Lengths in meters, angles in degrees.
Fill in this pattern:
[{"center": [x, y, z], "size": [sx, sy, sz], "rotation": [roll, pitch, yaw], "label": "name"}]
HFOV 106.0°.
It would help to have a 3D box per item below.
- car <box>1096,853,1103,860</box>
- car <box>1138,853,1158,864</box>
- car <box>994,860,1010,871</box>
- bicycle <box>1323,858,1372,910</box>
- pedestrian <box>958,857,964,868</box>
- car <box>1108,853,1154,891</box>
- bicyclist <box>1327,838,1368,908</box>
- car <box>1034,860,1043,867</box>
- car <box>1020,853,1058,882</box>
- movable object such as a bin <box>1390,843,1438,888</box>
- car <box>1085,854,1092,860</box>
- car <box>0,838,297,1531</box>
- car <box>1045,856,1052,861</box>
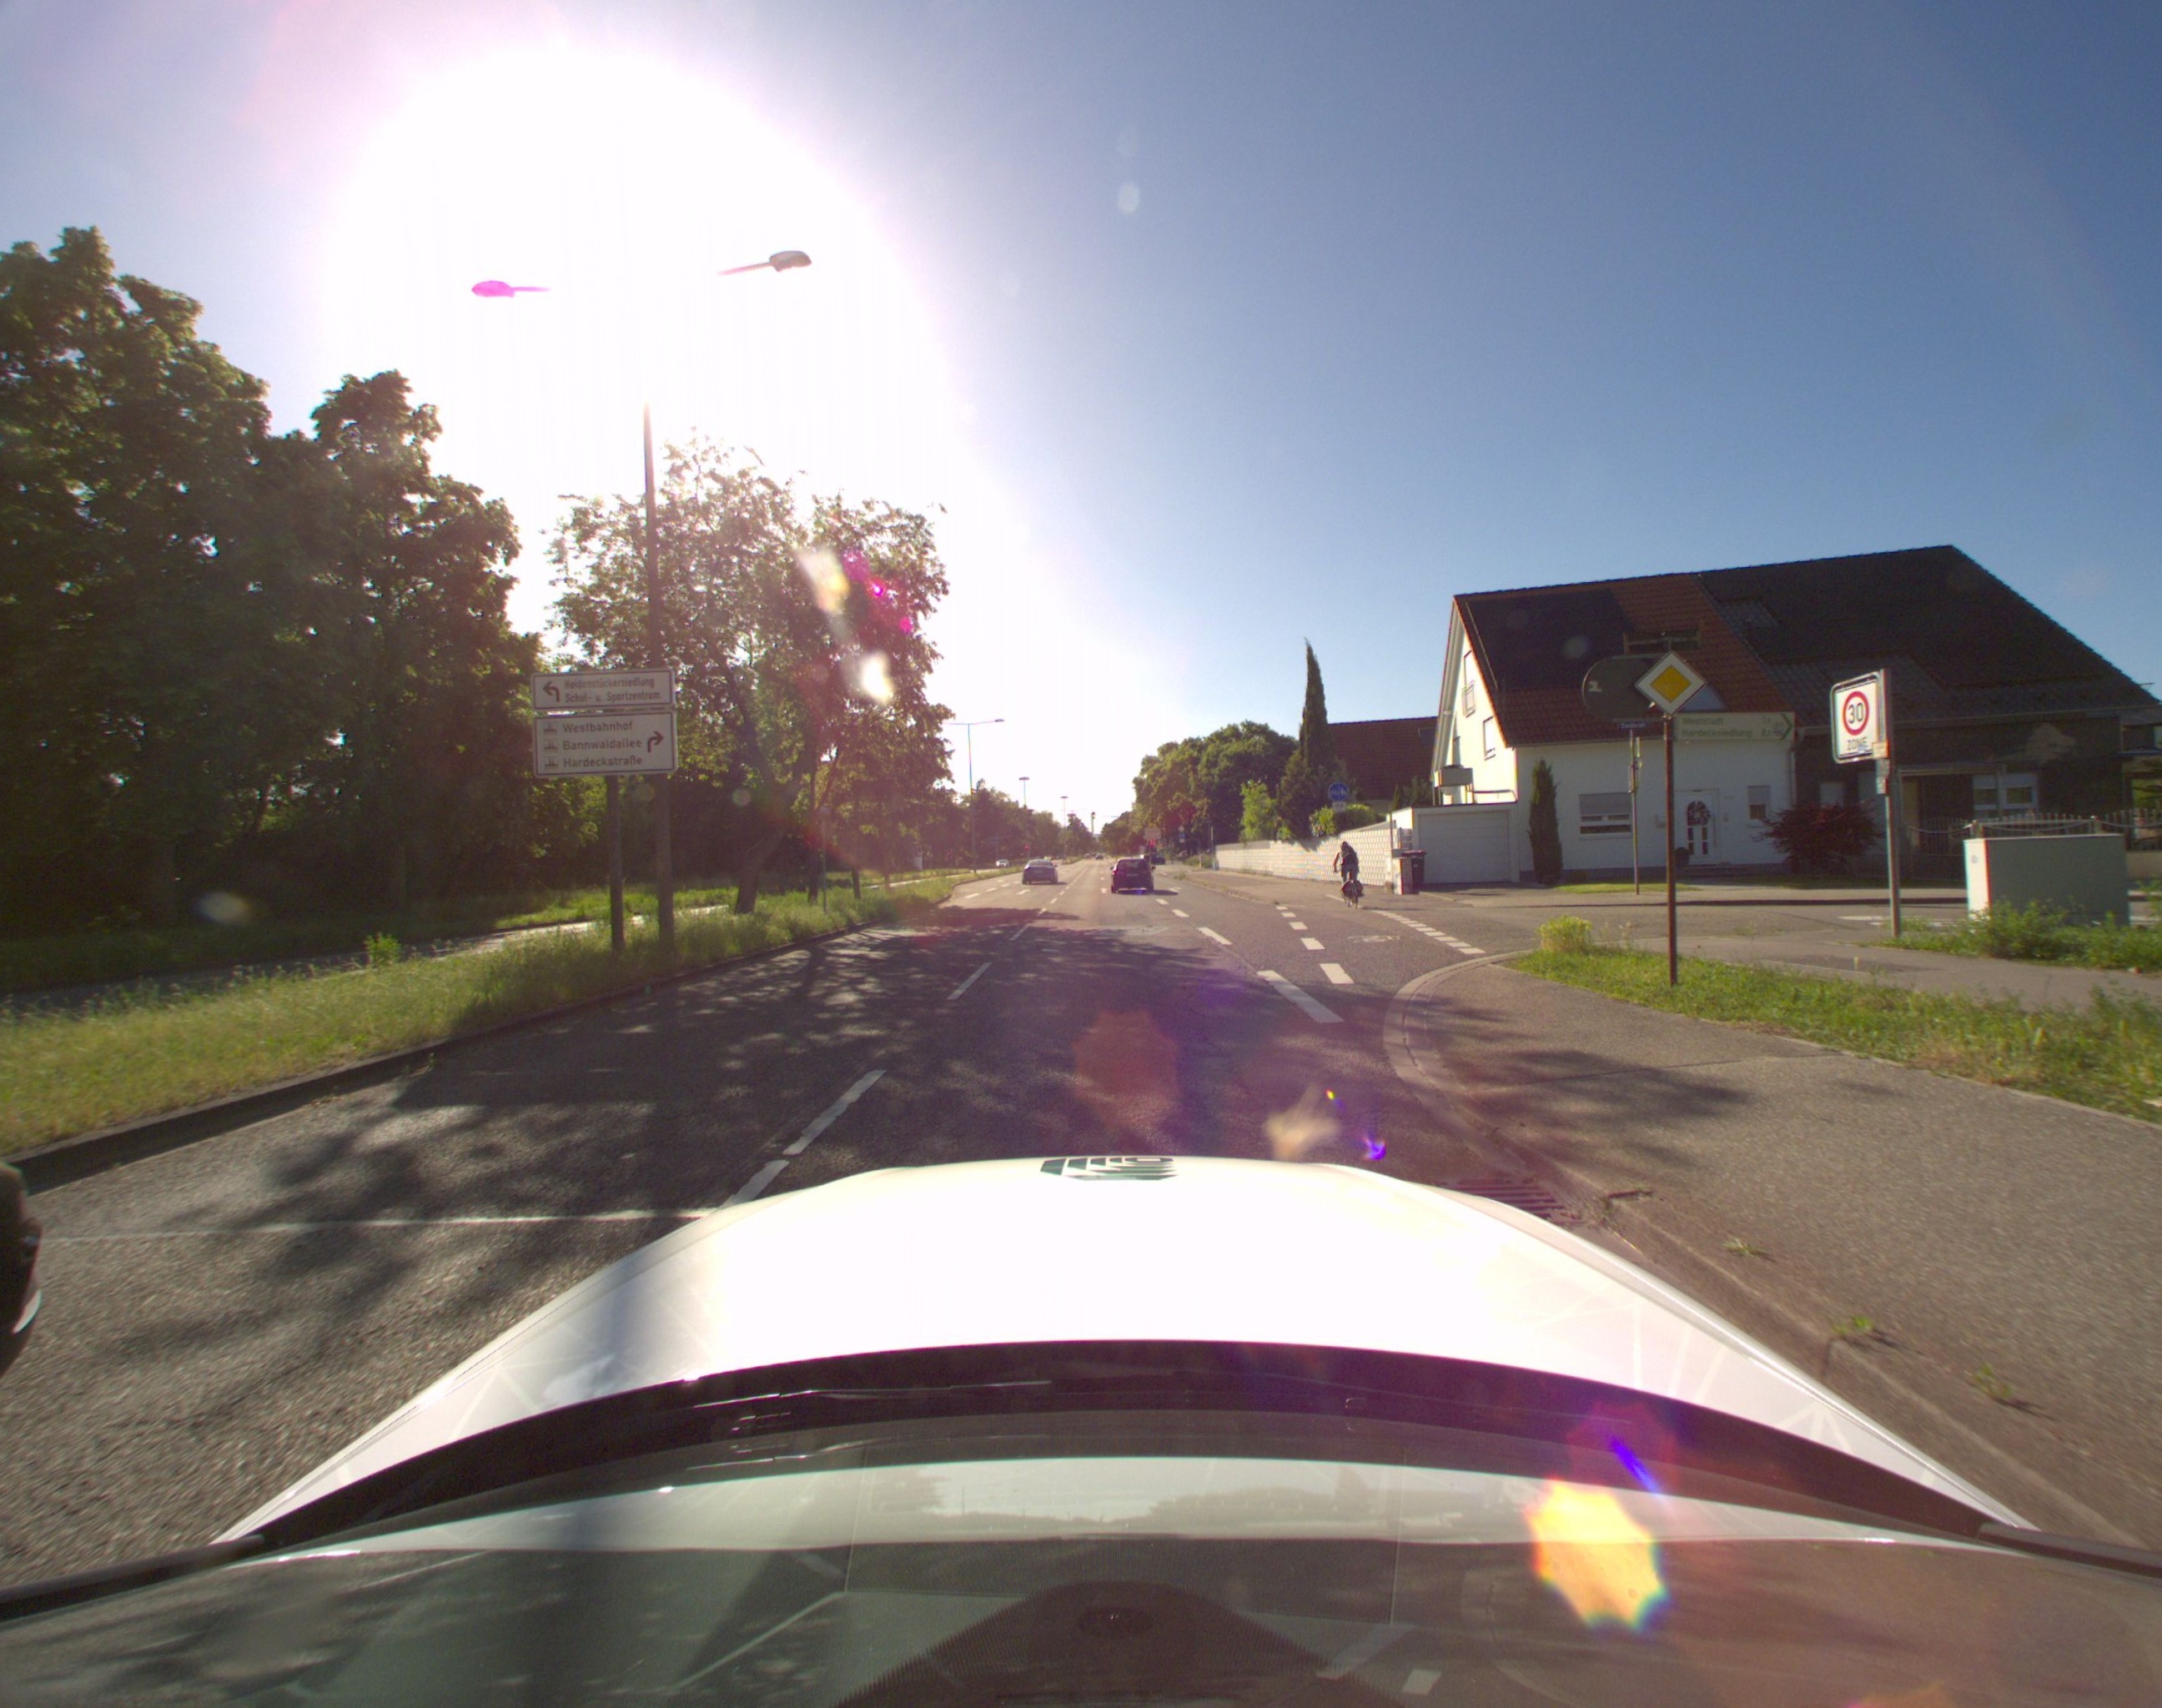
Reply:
[{"center": [4.689, 0.640, 203.305], "size": [1.727, 1.585, 3.840], "rotation": [0, -1, 0], "label": "car"}, {"center": [9.343, 0.570, 113.578], "size": [1.718, 1.459, 3.860], "rotation": [-2, 0, 20], "label": "car"}, {"center": [-12.586, 1.775, 130.284], "size": [1.905, 1.703, 4.409], "rotation": [0, -1, 2], "label": "car"}, {"center": [6.632, 0.709, 20.362], "size": [0.571, 1.155, 2.143], "rotation": [-5, 0, 4], "label": "bicycle"}, {"center": [-21.425, 1.546, 145.704], "size": [0.842, 1.833, 0.551], "rotation": [-2, 9, 3], "label": "pedestrian"}, {"center": [2.075, 0.735, 34.538], "size": [1.749, 1.509, 3.809], "rotation": [-1, -1, 1], "label": "car"}, {"center": [6.583, 0.457, 20.157], "size": [0.627, 1.632, 0.983], "rotation": [-5, 0, 4], "label": "bicyclist"}, {"center": [-10.377, 2.235, 201.079], "size": [1.857, 1.684, 4.261], "rotation": [0, -1, 2], "label": "car"}, {"center": [-2.406, 0.797, 48.022], "size": [1.882, 1.552, 4.001], "rotation": [-2, -1, 1], "label": "car"}, {"center": [9.748, 0.339, 23.862], "size": [0.996, 1.205, 1.065], "rotation": [-4, -1, 8], "label": "movable object such as a bin"}, {"center": [2.220, 0.760, 231.886], "size": [1.818, 1.615, 3.840], "rotation": [-1, -1, 1], "label": "car"}, {"center": [-3.447, 0.792, 0.428], "size": [1.689, 1.632, 4.419], "rotation": [-1, 0, 1], "label": "car"}, {"center": [-9.681, 1.312, 240.598], "size": [1.857, 1.684, 4.001], "rotation": [1, 0, 2], "label": "car"}]
